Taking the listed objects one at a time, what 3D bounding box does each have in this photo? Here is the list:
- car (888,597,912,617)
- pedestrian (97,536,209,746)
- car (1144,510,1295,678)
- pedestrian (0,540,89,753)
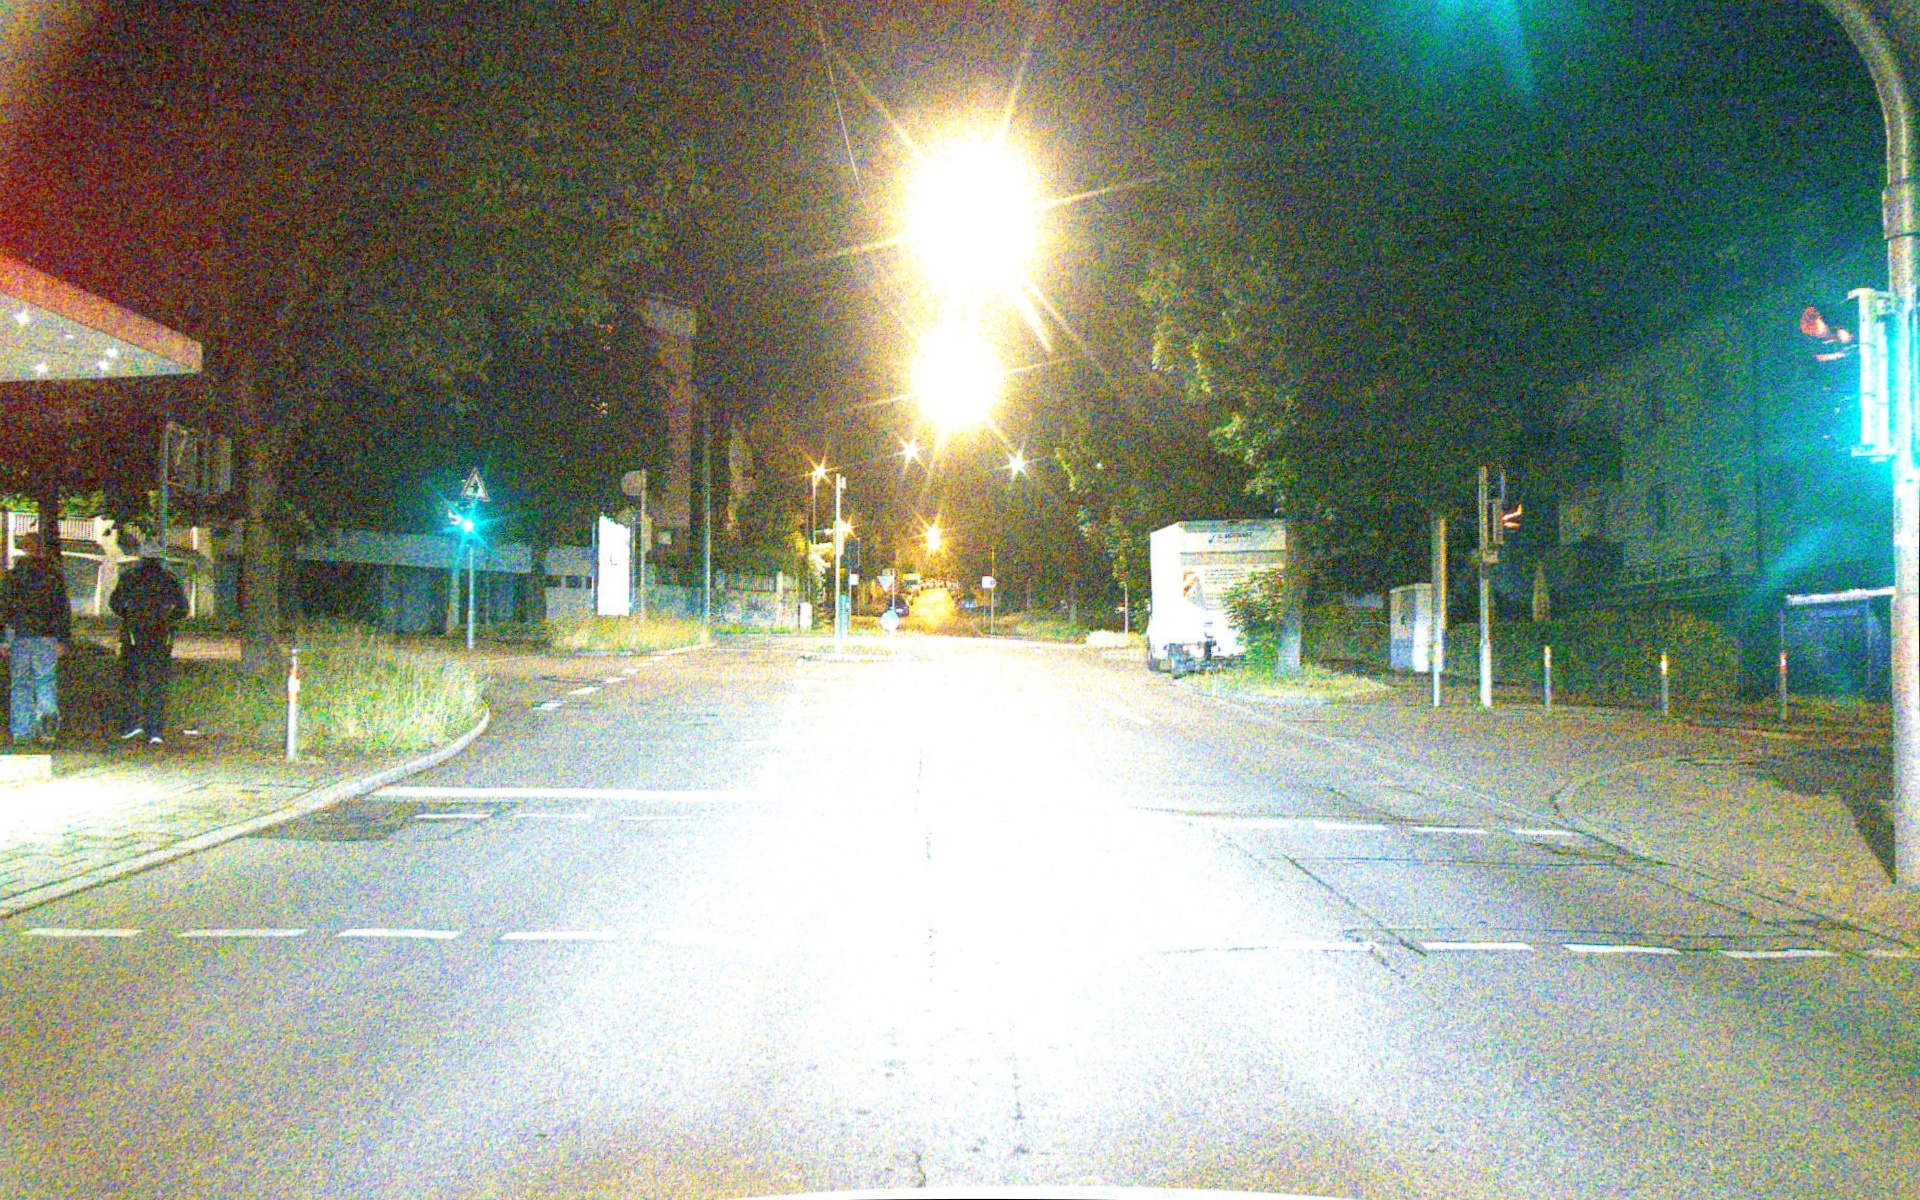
[{"bbox_3d":[-4.840,0.553,134.313,1.869,1.585,3.903,1,0,-1],"label":"car"},{"bbox_3d":[-7.197,0.359,14.776,0.558,1.808,0.737,3,-1,-1],"label":"pedestrian"},{"bbox_3d":[5.253,-0.113,34.349,2.249,3.147,5.840,-1,0,1],"label":"car"},{"bbox_3d":[-7.789,0.384,13.955,0.558,1.761,0.543,1,-1,-1],"label":"pedestrian"}]
